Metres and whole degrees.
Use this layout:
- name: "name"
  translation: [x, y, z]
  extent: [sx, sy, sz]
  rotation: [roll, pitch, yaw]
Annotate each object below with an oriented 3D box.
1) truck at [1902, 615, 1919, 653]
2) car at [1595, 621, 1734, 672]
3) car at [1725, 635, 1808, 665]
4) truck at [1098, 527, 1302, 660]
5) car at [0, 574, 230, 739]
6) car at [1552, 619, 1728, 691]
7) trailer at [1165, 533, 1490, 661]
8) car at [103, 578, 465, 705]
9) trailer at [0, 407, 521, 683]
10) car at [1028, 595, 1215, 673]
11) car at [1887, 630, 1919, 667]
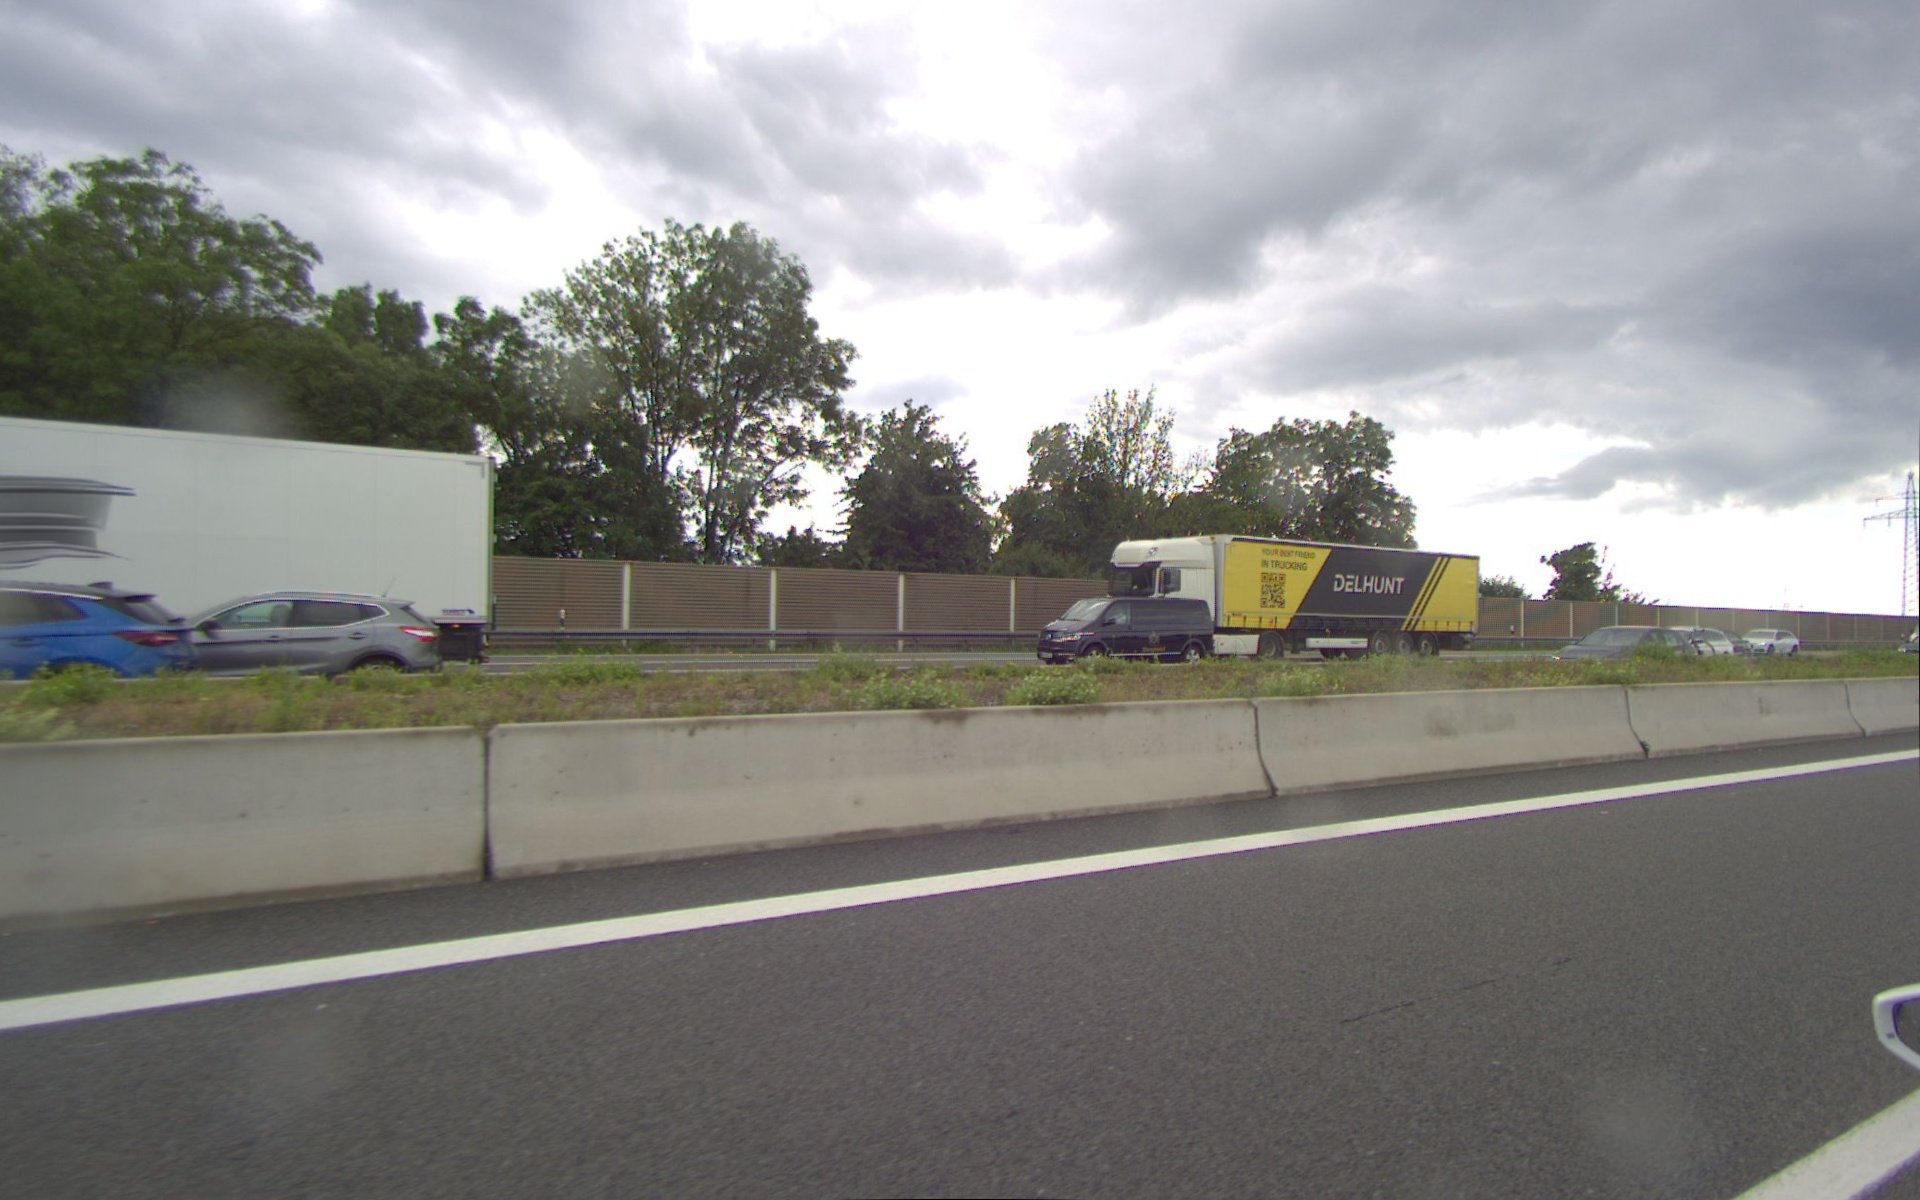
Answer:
- name: "truck"
  translation: [64.796, 2.290, 66.408]
  extent: [5.729, 2.449, 2.106]
  rotation: [2, 0, -30]
- name: "car"
  translation: [23.351, 1.529, 33.230]
  extent: [5.179, 1.557, 1.757]
  rotation: [2, 0, -30]
- name: "car"
  translation: [43.432, 2.685, 54.051]
  extent: [5.100, 1.516, 1.757]
  rotation: [2, 0, -30]
- name: "truck"
  translation: [7.939, -0.115, 33.057]
  extent: [6.366, 4.016, 2.665]
  rotation: [2, 0, -30]
- name: "car"
  translation: [-10.135, 0.504, 9.908]
  extent: [4.529, 1.557, 1.757]
  rotation: [2, 0, -30]
- name: "car"
  translation: [16.625, 1.315, 24.504]
  extent: [4.529, 1.557, 1.757]
  rotation: [2, 0, -30]
- name: "trailer"
  translation: [13.669, 0.092, 36.360]
  extent: [13.885, 4.016, 2.665]
  rotation: [2, 0, -30]
- name: "car"
  translation: [-9.208, 0.553, 14.078]
  extent: [3.953, 1.557, 1.750]
  rotation: [2, 0, -30]
- name: "trailer"
  translation: [-14.480, -0.802, 15.470]
  extent: [13.888, 3.937, 2.712]
  rotation: [2, 0, -31]
- name: "car"
  translation: [4.398, 0.920, 27.031]
  extent: [4.980, 1.920, 1.757]
  rotation: [2, 0, -30]
- name: "car"
  translation: [44.849, 2.244, 46.142]
  extent: [5.647, 1.569, 1.757]
  rotation: [2, 0, -30]
